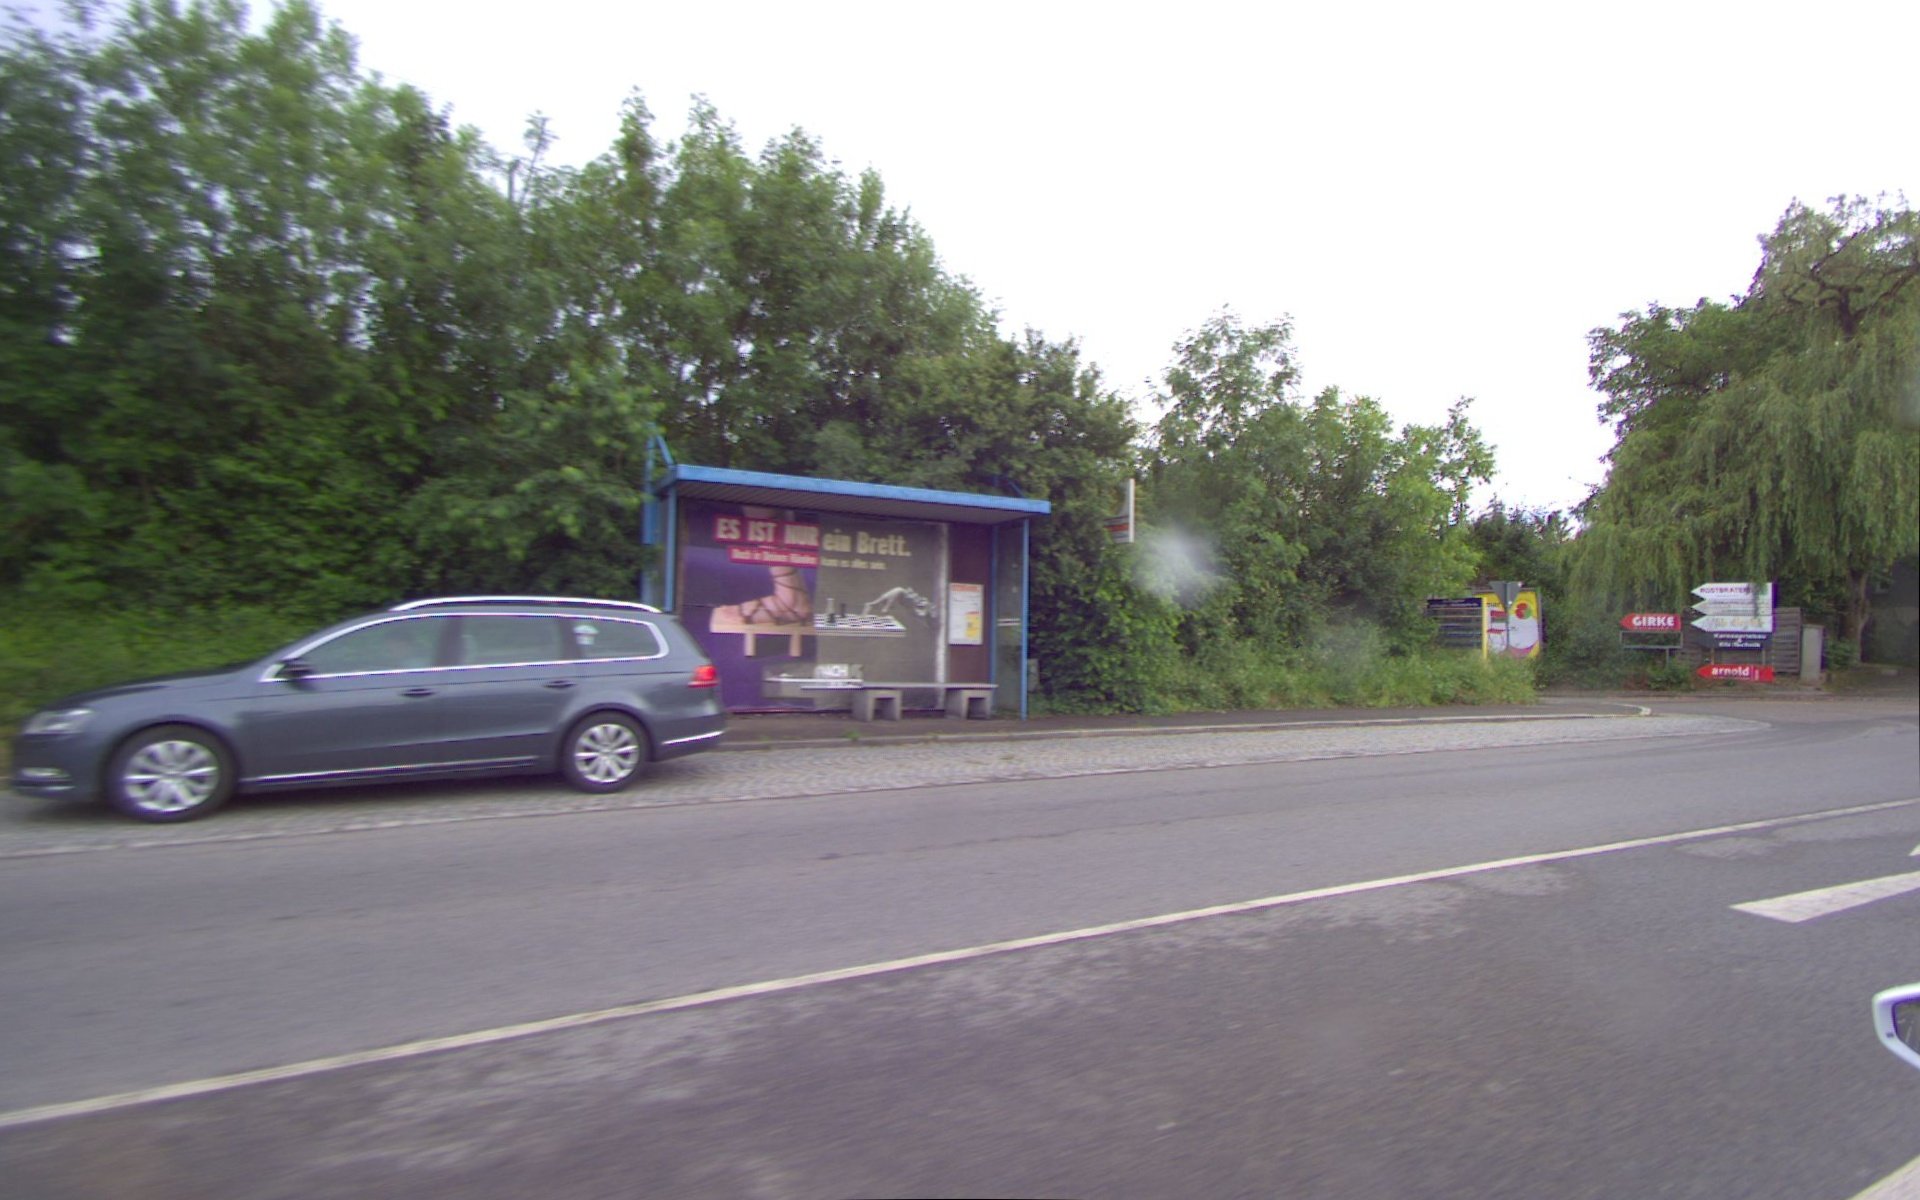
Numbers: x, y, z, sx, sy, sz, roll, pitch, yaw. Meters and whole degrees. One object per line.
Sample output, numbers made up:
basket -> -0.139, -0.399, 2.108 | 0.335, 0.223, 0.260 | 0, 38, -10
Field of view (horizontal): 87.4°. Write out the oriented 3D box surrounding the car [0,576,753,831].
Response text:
car -> -4.202, 0.669, 7.922 | 4.644, 1.493, 1.984 | 2, 1, -29
